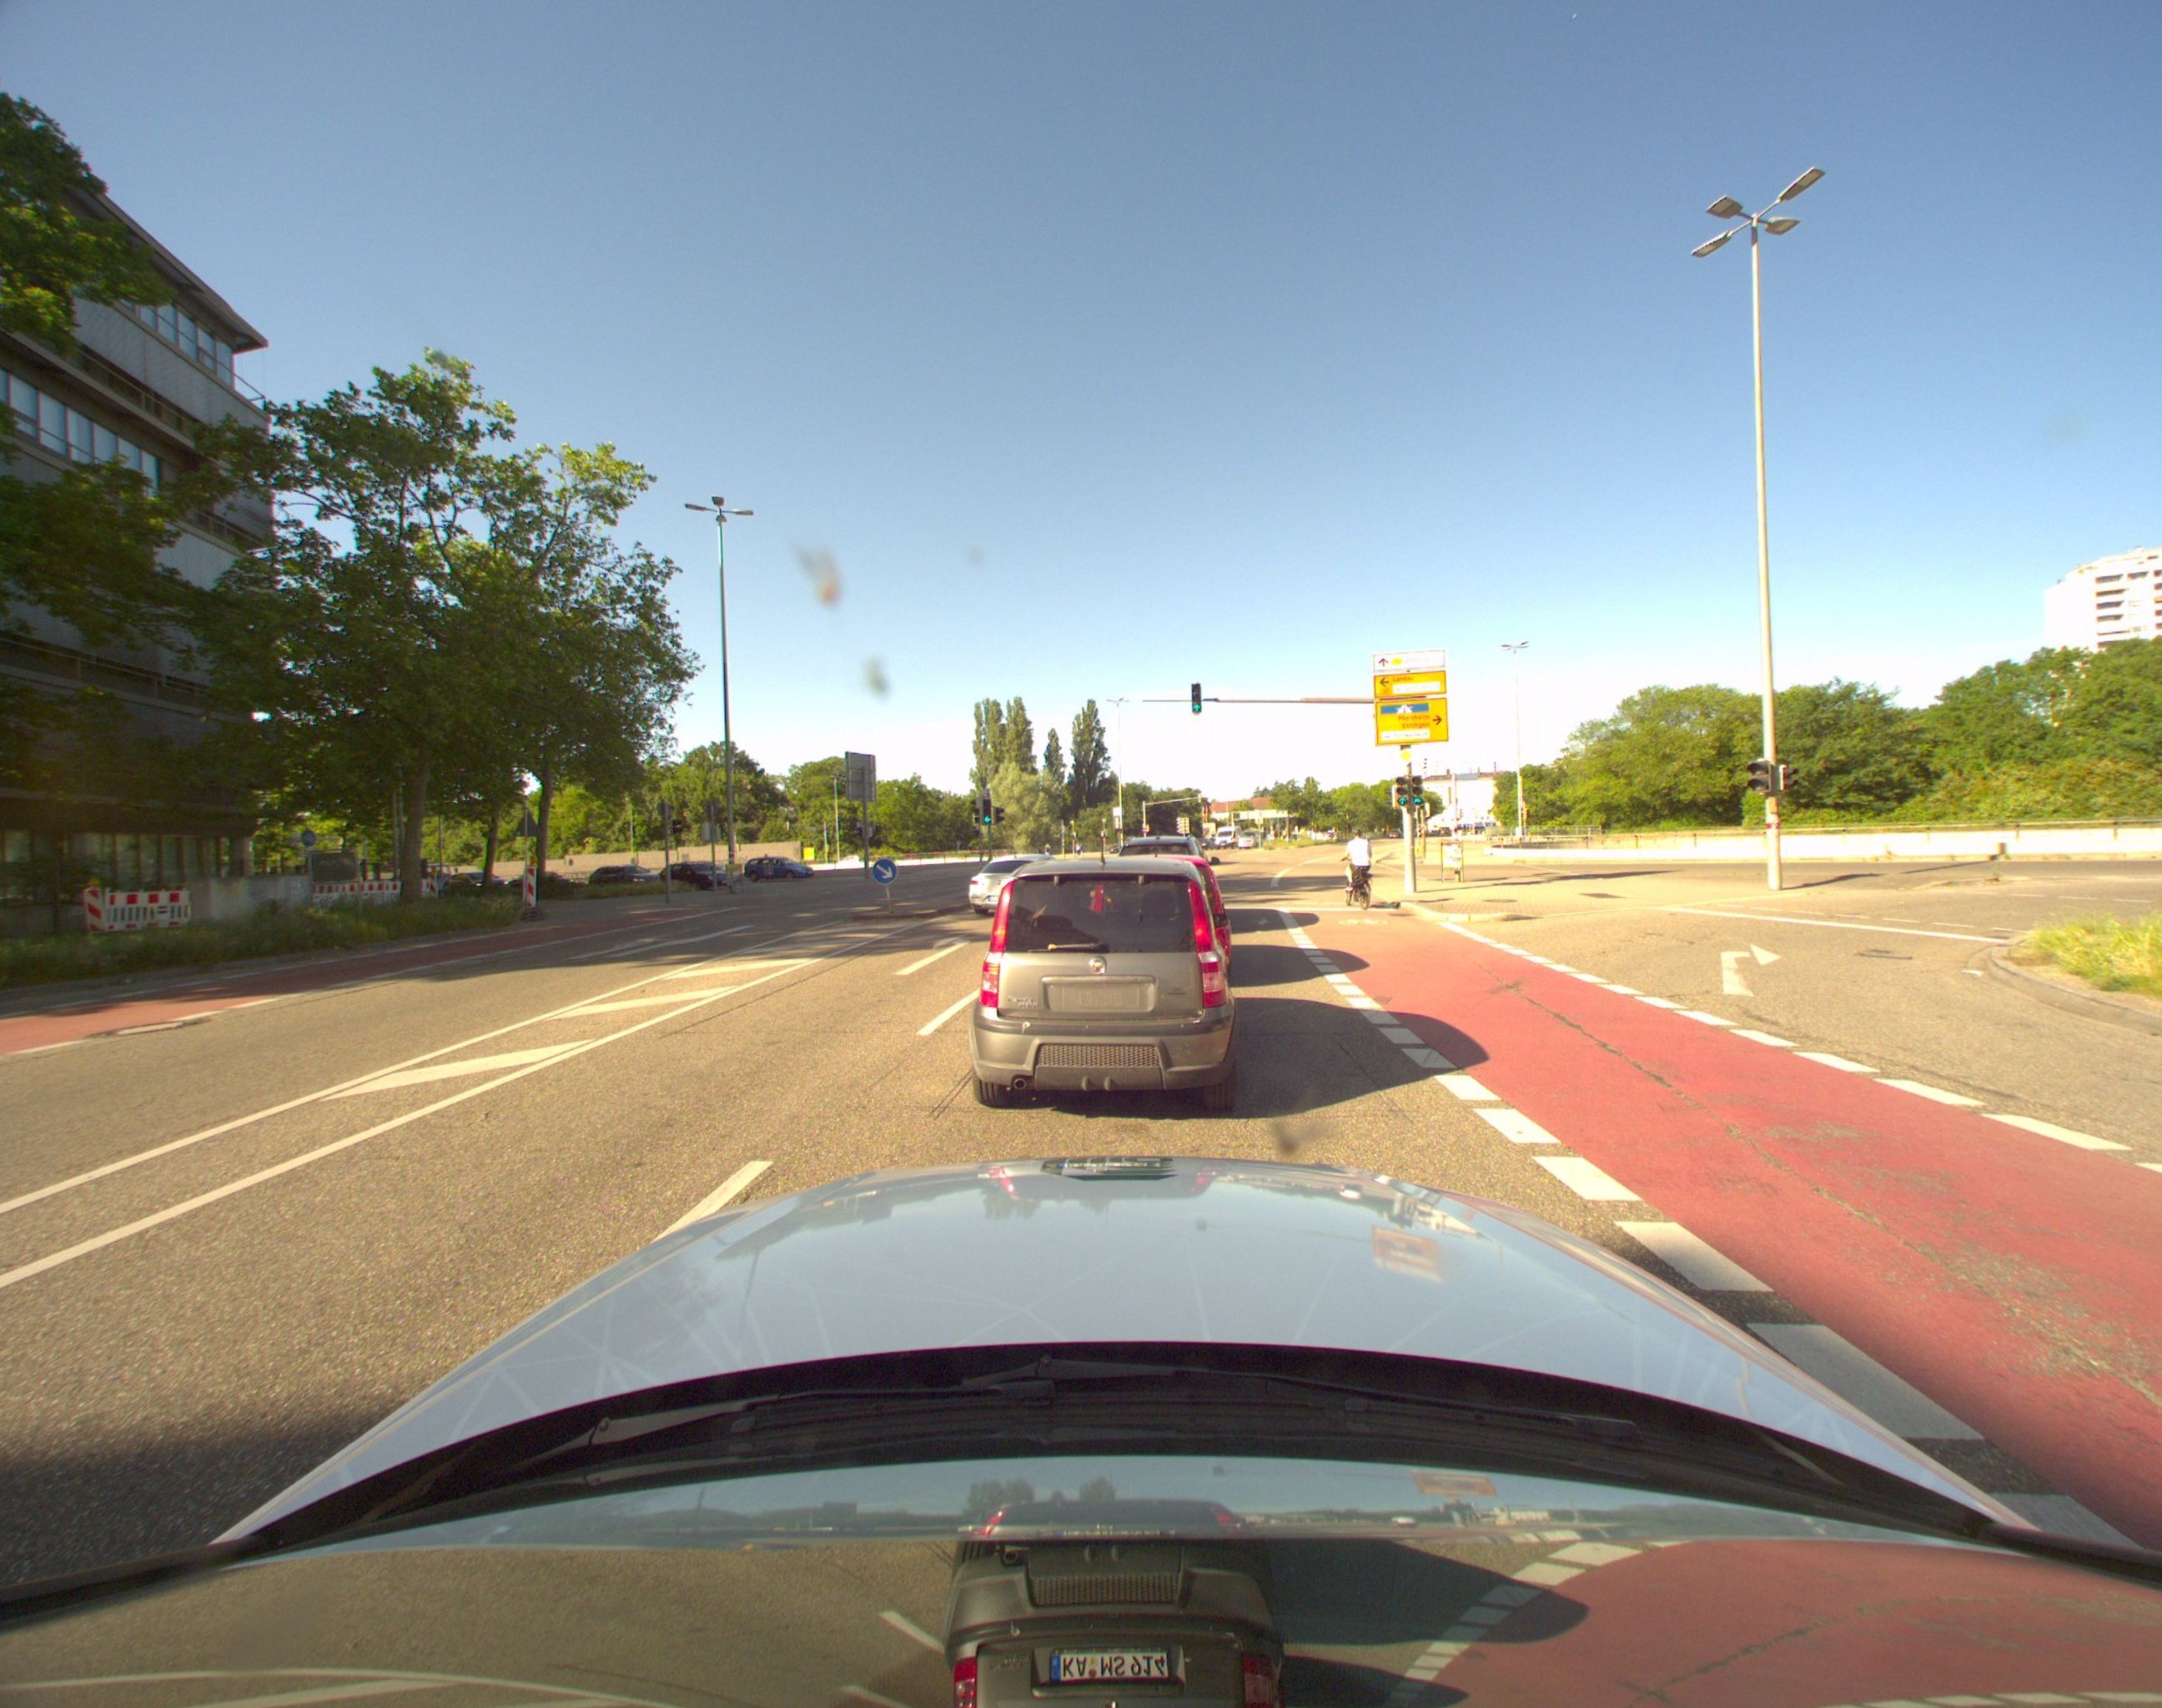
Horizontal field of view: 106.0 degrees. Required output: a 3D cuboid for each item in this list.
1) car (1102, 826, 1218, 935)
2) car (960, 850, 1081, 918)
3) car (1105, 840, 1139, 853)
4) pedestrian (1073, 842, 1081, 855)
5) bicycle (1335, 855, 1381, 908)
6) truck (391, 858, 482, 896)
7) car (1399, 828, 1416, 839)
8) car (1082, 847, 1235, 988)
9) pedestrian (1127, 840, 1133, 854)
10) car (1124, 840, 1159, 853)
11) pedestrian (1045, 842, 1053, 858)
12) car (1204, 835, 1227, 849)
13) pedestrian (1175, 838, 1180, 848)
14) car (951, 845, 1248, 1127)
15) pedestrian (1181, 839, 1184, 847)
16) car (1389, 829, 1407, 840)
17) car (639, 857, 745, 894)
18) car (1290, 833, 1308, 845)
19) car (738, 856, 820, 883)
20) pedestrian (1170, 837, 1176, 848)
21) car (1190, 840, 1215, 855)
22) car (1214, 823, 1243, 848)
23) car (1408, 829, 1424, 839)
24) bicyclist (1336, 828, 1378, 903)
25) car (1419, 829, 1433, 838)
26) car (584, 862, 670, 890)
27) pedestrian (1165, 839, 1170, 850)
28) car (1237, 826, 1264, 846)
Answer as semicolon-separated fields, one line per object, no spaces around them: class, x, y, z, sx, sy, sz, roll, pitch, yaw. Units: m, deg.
car;1.716;0.426;16.274;1.933;1.840;4.165;-2;1;10
car;-1.369;0.664;20.396;1.768;1.415;4.335;-1;1;13
car;5.249;-0.906;104.500;4.018;1.625;1.880;0;-1;-37
pedestrian;-0.469;-0.638;95.508;0.710;1.547;0.725;-3;-1;-14
bicycle;6.317;0.605;18.669;0.687;1.102;1.831;-1;1;9
truck;-43.407;1.554;54.762;7.418;2.359;2.178;-2;1;30
car;52.712;-3.305;131.409;1.926;1.528;4.123;-2;1;30
car;1.079;0.686;10.785;1.609;1.463;3.759;-2;1;7
pedestrian;5.606;-0.821;93.165;0.557;1.547;0.573;-3;-1;-14
car;7.649;-0.943;102.007;4.351;1.535;1.764;-3;2;-39
pedestrian;-2.979;-0.355;75.129;0.678;1.463;0.702;-2;1;-4
car;16.227;-1.469;98.192;1.795;1.541;4.641;-3;1;21
pedestrian;15.177;-1.727;128.126;0.713;1.641;0.676;-1;-1;27
car;0.330;0.736;6.454;1.609;1.515;3.828;-2;1;7
pedestrian;15.982;-1.736;127.921;0.419;1.136;0.400;-1;-1;27
car;48.858;-3.023;125.470;1.926;1.528;4.123;-2;1;30
car;-19.657;1.087;41.194;4.731;1.621;1.961;-2;1;18
car;31.292;-2.196;116.660;1.920;1.622;4.530;-2;1;22
car;-18.898;0.964;50.947;4.410;1.540;1.960;-2;1;15
pedestrian;13.974;-1.729;123.783;0.782;1.664;0.633;-1;-1;42
car;13.724;-0.782;91.643;1.920;1.507;4.020;-3;1;19
car;16.461;-2.090;90.593;1.920;2.576;6.122;-2;1;22
car;59.425;-3.578;144.469;1.926;1.528;4.123;-2;1;30
bicyclist;6.303;0.242;18.632;0.720;1.659;1.116;-1;1;9
car;67.136;-3.974;158.300;1.926;1.528;4.123;-2;1;30
car;-24.922;1.215;44.706;4.452;1.358;1.892;-2;1;27
pedestrian;13.176;-1.443;124.160;0.494;1.701;0.503;-1;-1;26
car;18.079;-1.935;86.562;1.920;2.008;4.958;-2;1;22
